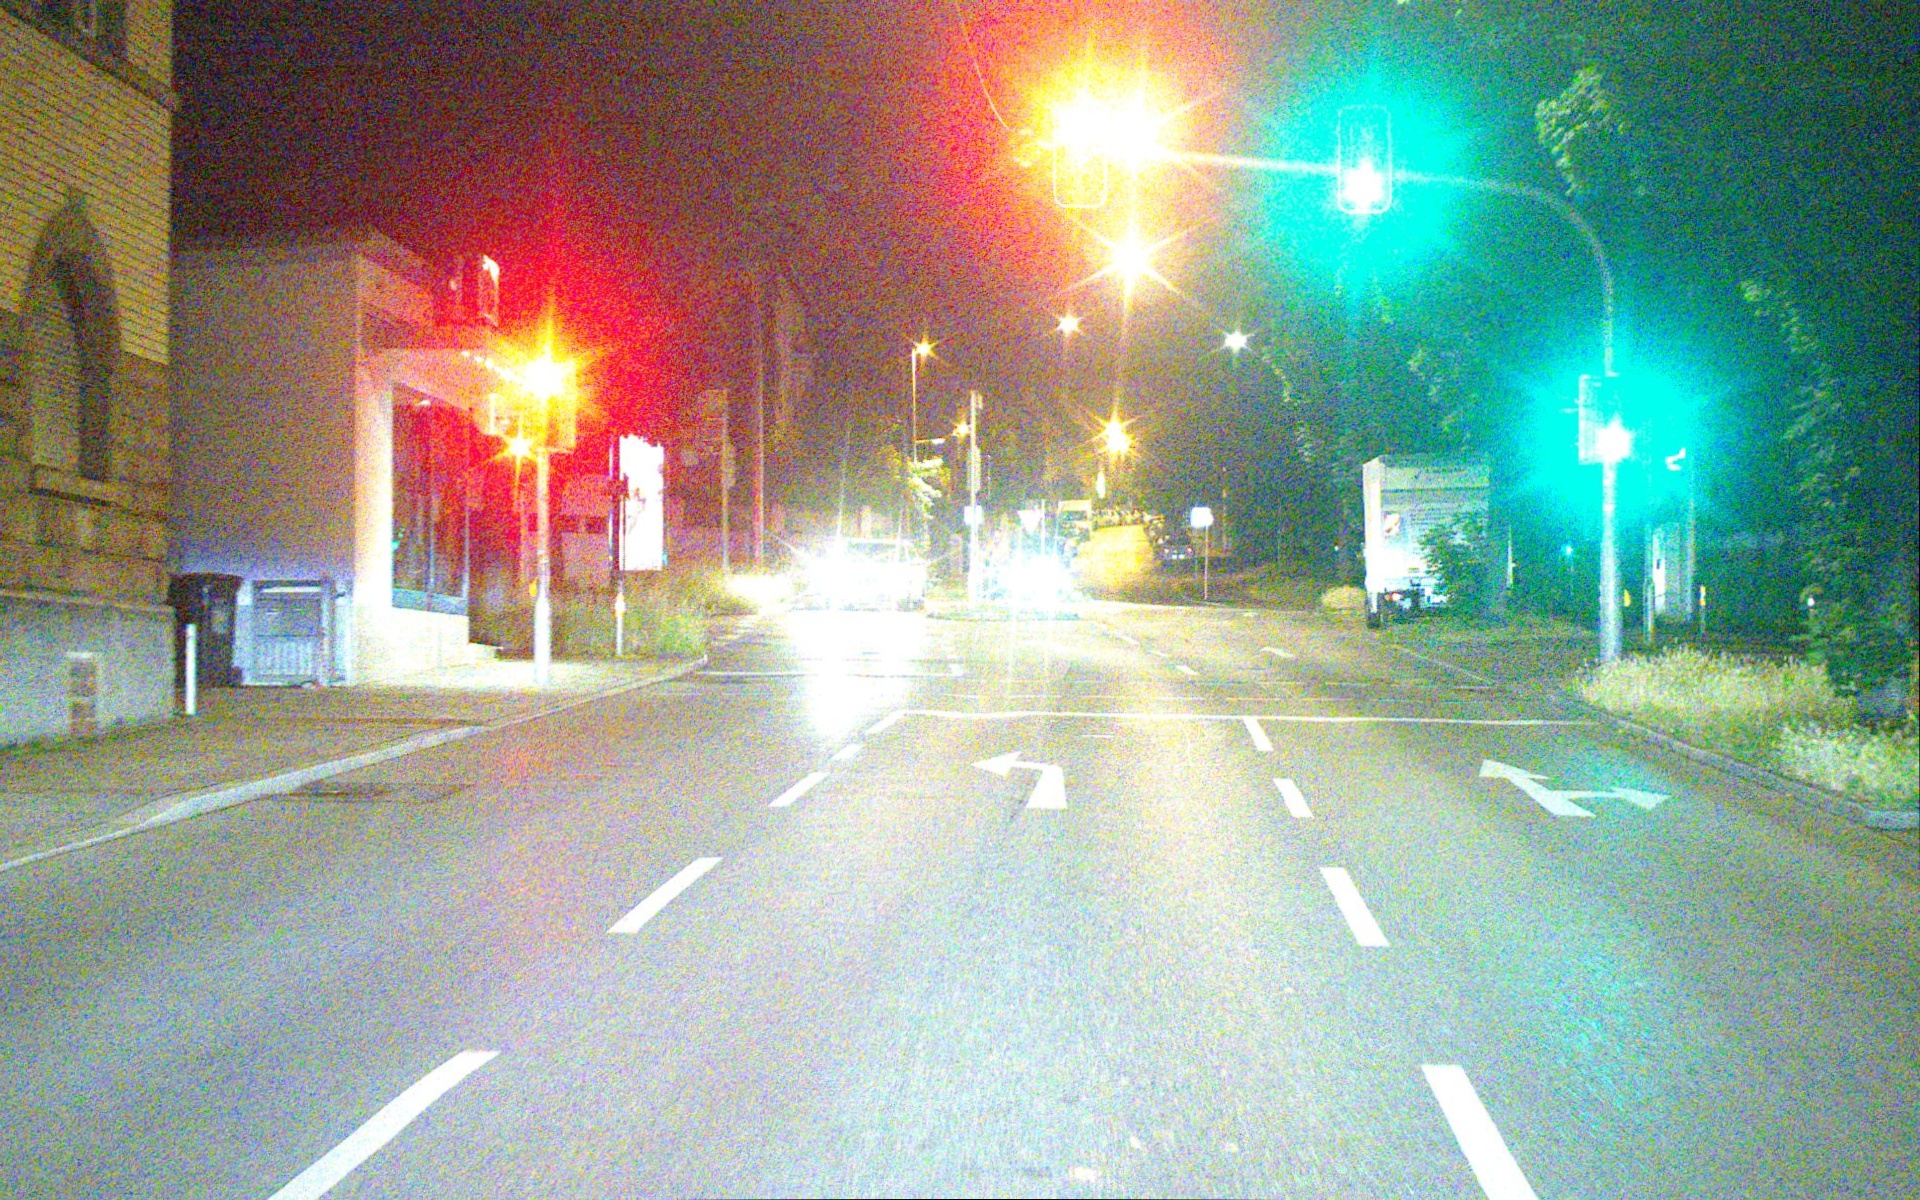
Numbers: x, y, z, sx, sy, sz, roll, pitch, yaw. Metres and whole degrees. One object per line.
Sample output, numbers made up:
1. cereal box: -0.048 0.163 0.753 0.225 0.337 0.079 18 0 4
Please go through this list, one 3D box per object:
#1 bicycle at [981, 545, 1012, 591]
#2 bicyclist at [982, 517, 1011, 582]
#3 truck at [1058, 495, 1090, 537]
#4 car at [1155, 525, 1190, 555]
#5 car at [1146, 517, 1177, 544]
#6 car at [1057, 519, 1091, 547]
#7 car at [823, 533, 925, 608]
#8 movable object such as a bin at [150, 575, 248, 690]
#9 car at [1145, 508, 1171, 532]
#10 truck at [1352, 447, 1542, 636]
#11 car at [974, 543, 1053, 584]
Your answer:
1. bicycle: 0.938 -0.810 86.954 0.696 1.145 1.950 0 1 3
2. bicyclist: 0.934 -1.283 86.939 0.690 1.631 0.896 0 1 3
3. truck: 7.773 -5.739 235.652 2.086 2.838 5.831 1 1 1
4. car: 10.430 -2.937 168.979 1.634 1.447 3.484 1 1 3
5. car: 10.834 -3.745 185.055 1.634 1.447 3.484 1 1 3
6. car: 6.172 -3.640 186.658 1.815 1.486 4.000 1 1 1
7. car: -1.789 -0.651 72.911 1.857 1.529 4.027 1 1 3
8. movable object such as a bin: -7.075 0.294 31.970 0.639 1.045 0.654 1 1 21
9. car: 12.500 -5.048 217.222 1.634 1.447 3.484 1 1 3
10. truck: 8.437 -1.037 60.210 2.750 3.100 6.258 1 1 3
11. car: 1.855 -1.296 121.226 1.916 1.384 4.584 1 1 -10
